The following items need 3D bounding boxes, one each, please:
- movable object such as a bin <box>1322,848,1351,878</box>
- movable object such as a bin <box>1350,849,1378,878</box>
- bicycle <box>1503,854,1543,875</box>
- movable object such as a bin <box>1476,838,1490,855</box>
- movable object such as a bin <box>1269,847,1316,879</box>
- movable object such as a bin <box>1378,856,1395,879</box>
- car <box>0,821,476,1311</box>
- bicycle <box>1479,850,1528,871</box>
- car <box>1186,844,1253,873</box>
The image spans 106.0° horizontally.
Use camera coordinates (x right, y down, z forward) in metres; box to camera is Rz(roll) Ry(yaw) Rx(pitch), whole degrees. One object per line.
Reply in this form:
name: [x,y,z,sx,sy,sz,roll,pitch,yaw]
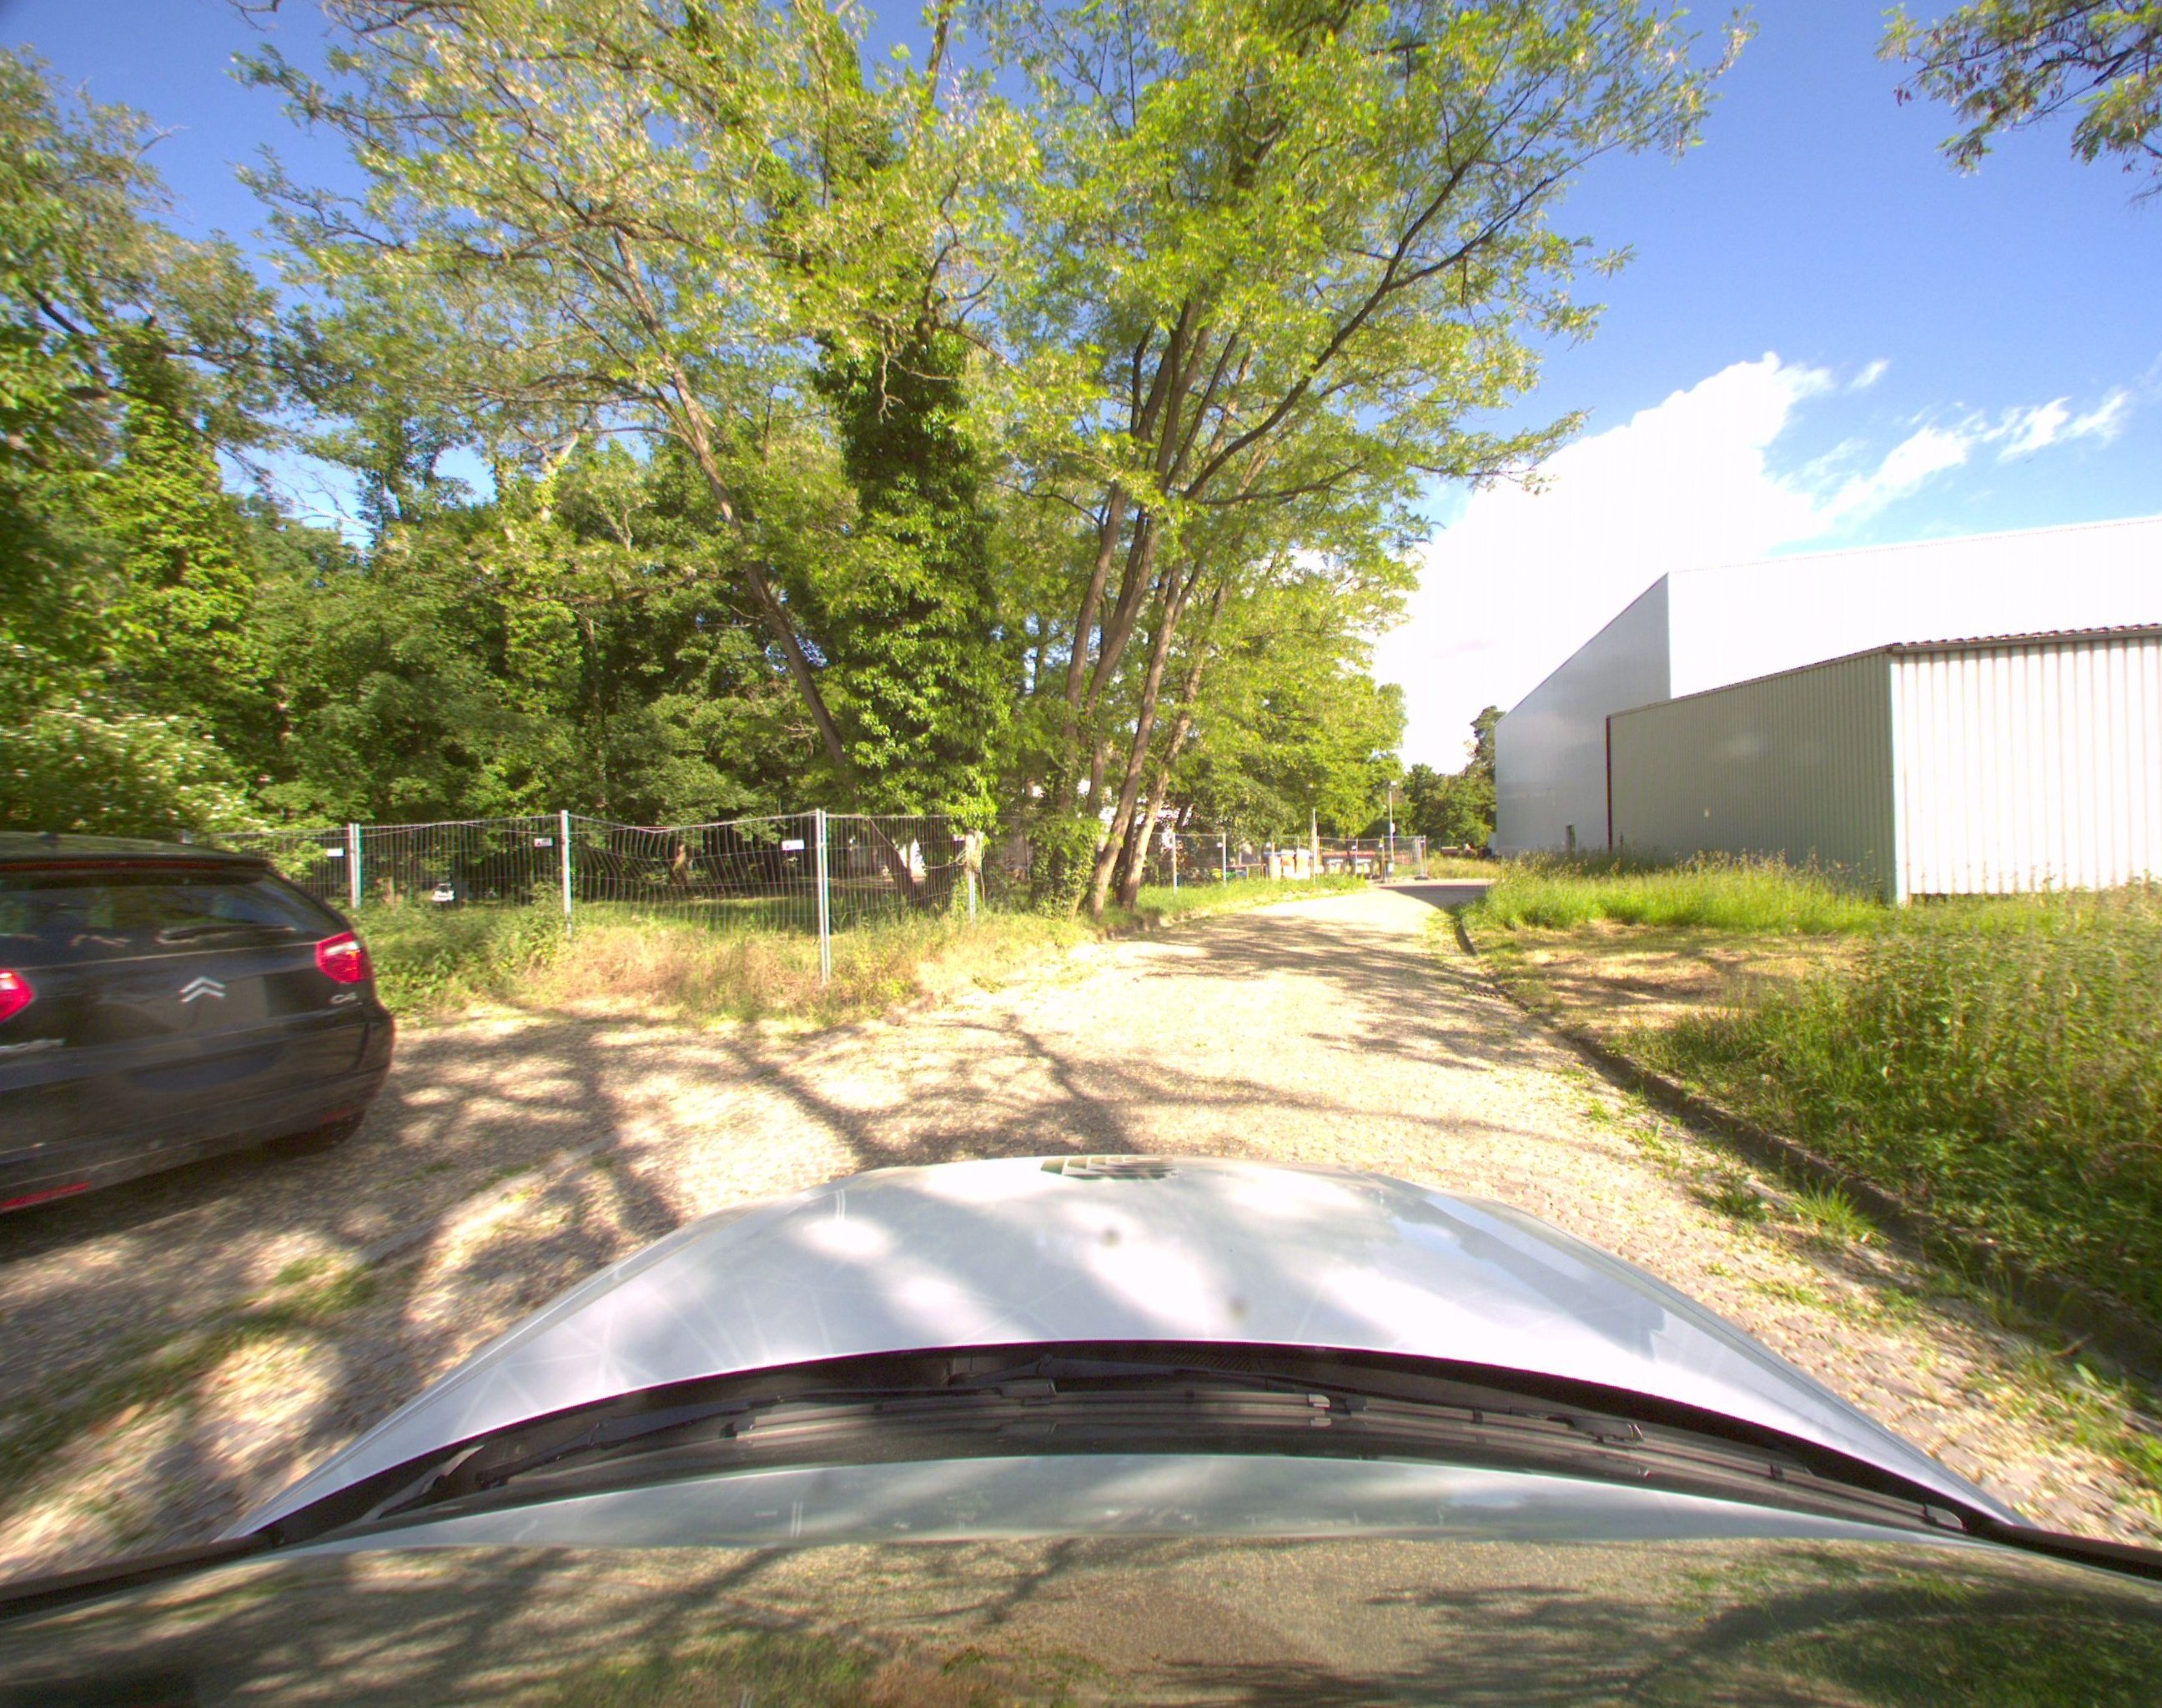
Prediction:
movable object such as a bin: [13.000,0.469,41.419,1.328,1.484,0.809,-1,0,12]
movable object such as a bin: [14.275,0.472,41.043,1.236,1.444,0.705,-1,0,13]
bicycle: [23.655,0.546,43.622,1.777,1.082,0.527,-1,0,20]
movable object such as a bin: [46.072,-0.861,93.313,1.406,2.013,1.131,-1,0,23]
movable object such as a bin: [10.826,0.452,41.799,2.272,1.591,1.178,-1,0,12]
movable object such as a bin: [15.232,0.676,40.589,0.730,1.097,0.823,-1,0,22]
car: [-5.542,0.672,3.939,4.257,1.652,1.799,1,0,12]
bicycle: [26.590,0.395,51.306,2.607,1.266,1.147,-1,0,22]
car: [10.228,0.363,60.165,4.676,1.902,2.008,-2,-1,14]
